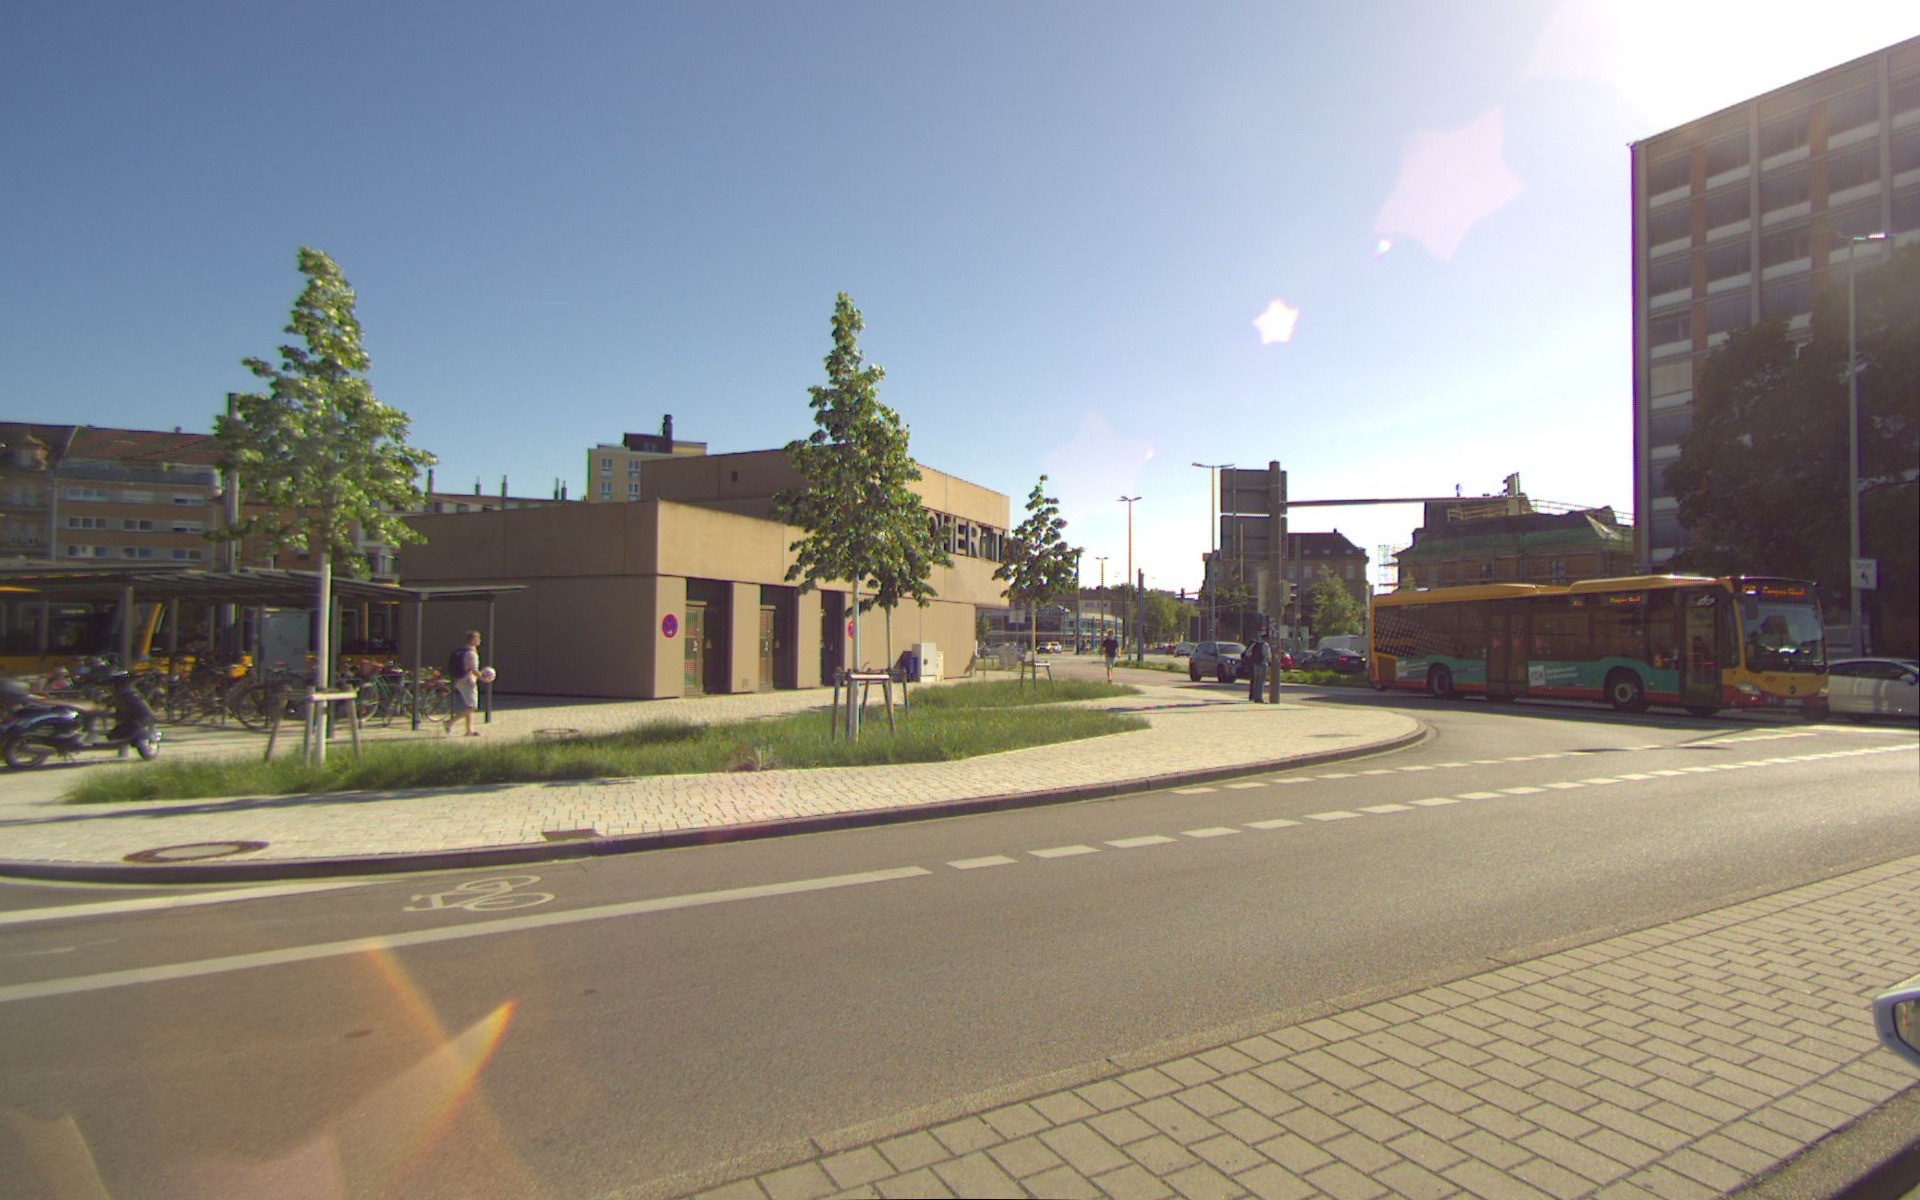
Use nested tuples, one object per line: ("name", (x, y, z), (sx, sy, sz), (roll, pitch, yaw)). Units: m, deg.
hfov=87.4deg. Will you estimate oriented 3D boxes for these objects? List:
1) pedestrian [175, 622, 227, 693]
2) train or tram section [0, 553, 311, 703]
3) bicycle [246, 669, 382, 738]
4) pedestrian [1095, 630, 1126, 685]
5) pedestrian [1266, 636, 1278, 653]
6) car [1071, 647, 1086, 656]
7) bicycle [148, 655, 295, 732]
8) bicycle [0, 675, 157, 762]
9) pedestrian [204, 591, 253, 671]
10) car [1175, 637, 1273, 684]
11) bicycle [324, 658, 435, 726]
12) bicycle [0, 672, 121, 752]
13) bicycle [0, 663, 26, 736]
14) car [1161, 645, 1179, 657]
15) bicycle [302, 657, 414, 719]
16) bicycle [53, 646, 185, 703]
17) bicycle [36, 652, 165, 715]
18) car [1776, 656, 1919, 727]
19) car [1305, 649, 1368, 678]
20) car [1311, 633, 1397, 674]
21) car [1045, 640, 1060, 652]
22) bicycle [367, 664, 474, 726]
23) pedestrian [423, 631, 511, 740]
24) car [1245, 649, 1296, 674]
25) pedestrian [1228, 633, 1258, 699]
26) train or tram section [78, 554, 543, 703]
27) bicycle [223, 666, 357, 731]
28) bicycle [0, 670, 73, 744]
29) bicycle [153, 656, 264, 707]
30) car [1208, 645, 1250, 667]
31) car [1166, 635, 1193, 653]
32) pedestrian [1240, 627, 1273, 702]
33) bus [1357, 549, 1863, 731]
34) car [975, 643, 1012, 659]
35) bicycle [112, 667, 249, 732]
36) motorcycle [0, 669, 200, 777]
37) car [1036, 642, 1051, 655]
("pedestrian", (-18.376, 1.389, 24.334), (0.593, 1.681, 0.772), (0, -2, 23))
("train or tram section", (-24.106, 0.738, 26.353), (2.779, 3.648, 12.320), (0, -2, 24))
("bicycle", (-10.680, 1.682, 16.679), (0.617, 1.021, 1.828), (0, -2, 27))
("pedestrian", (5.150, 1.955, 34.394), (0.826, 1.869, 0.866), (1, -2, -7))
("pedestrian", (37.763, 5.358, 121.578), (1.249, 2.040, 1.093), (0, -2, 13))
("car", (18.558, 8.025, 156.850), (1.959, 1.407, 4.004), (0, -3, 11))
("bicycle", (-12.897, 1.603, 17.625), (0.496, 1.225, 2.051), (0, -2, 26))
("bicycle", (-12.046, 1.562, 13.517), (0.617, 1.021, 1.829), (0, -2, 25))
("pedestrian", (-17.544, 0.747, 24.102), (0.738, 1.880, 0.709), (1, -2, -19))
("car", (11.284, 2.538, 43.273), (1.972, 1.885, 4.727), (1, -2, -16))
("bicycle", (-10.751, 1.680, 18.679), (0.616, 1.161, 1.831), (0, -2, 18))
("bicycle", (-13.129, 1.561, 14.068), (0.617, 1.021, 2.026), (0, -2, 25))
("bicycle", (-15.280, 1.519, 15.008), (0.617, 1.094, 1.829), (0, -2, 25))
("car", (31.198, 7.589, 149.391), (1.960, 1.603, 4.001), (2, 0, 2))
("bicycle", (-11.754, 1.691, 19.685), (0.617, 1.107, 1.829), (0, -2, 25))
("bicycle", (-16.001, 1.395, 19.162), (0.617, 1.021, 1.828), (0, -2, 27))
("bicycle", (-16.920, 1.614, 19.825), (0.617, 1.146, 1.828), (0, -2, 27))
("car", (20.037, 1.920, 21.288), (1.732, 1.391, 3.985), (1, -2, -17))
("car", (21.218, 3.552, 56.754), (1.962, 1.538, 3.818), (1, -2, -4))
("car", (26.644, 3.565, 68.338), (2.954, 2.580, 6.958), (1, -2, -2))
("car", (13.624, 6.760, 147.340), (1.865, 1.728, 4.003), (0, -2, 9))
("bicycle", (-9.831, 1.713, 18.380), (0.616, 1.021, 1.832), (0, -2, 16))
("pedestrian", (-8.135, 1.385, 16.605), (0.825, 1.727, 1.021), (-1, -2, 36))
("car", (20.449, 4.020, 66.297), (1.962, 1.538, 3.818), (1, -2, -4))
("pedestrian", (7.586, 1.761, 26.918), (0.594, 1.719, 0.634), (1, -2, -7))
("train or tram section", (-18.713, 0.916, 30.736), (2.702, 3.648, 12.318), (0, -2, 25))
("bicycle", (-11.624, 1.684, 17.496), (0.492, 1.010, 1.887), (0, -2, 31))
("bicycle", (-14.113, 1.553, 14.509), (0.617, 1.021, 1.829), (0, -2, 25))
("bicycle", (-16.266, 1.738, 21.800), (0.617, 1.021, 1.829), (0, -2, 25))
("car", (20.203, 4.218, 75.514), (1.962, 1.538, 3.818), (1, -2, -4))
("car", (26.706, 5.340, 122.347), (2.027, 2.040, 3.995), (2, 0, -7))
("pedestrian", (7.580, 1.632, 25.674), (0.594, 1.880, 0.681), (1, -2, -7))
("bus", (15.677, 1.023, 26.442), (3.194, 3.617, 12.433), (1, -2, -13))
("car", (3.777, 5.773, 113.471), (3.919, 1.795, 1.784), (0, -2, 13))
("bicycle", (-13.873, 1.745, 17.934), (0.617, 1.021, 1.828), (0, -2, 27))
("motorcycle", (-10.928, 1.482, 12.472), (0.599, 1.173, 2.360), (0, -2, 25))
("car", (11.840, 6.840, 141.689), (1.959, 1.814, 4.003), (0, -2, 6))
